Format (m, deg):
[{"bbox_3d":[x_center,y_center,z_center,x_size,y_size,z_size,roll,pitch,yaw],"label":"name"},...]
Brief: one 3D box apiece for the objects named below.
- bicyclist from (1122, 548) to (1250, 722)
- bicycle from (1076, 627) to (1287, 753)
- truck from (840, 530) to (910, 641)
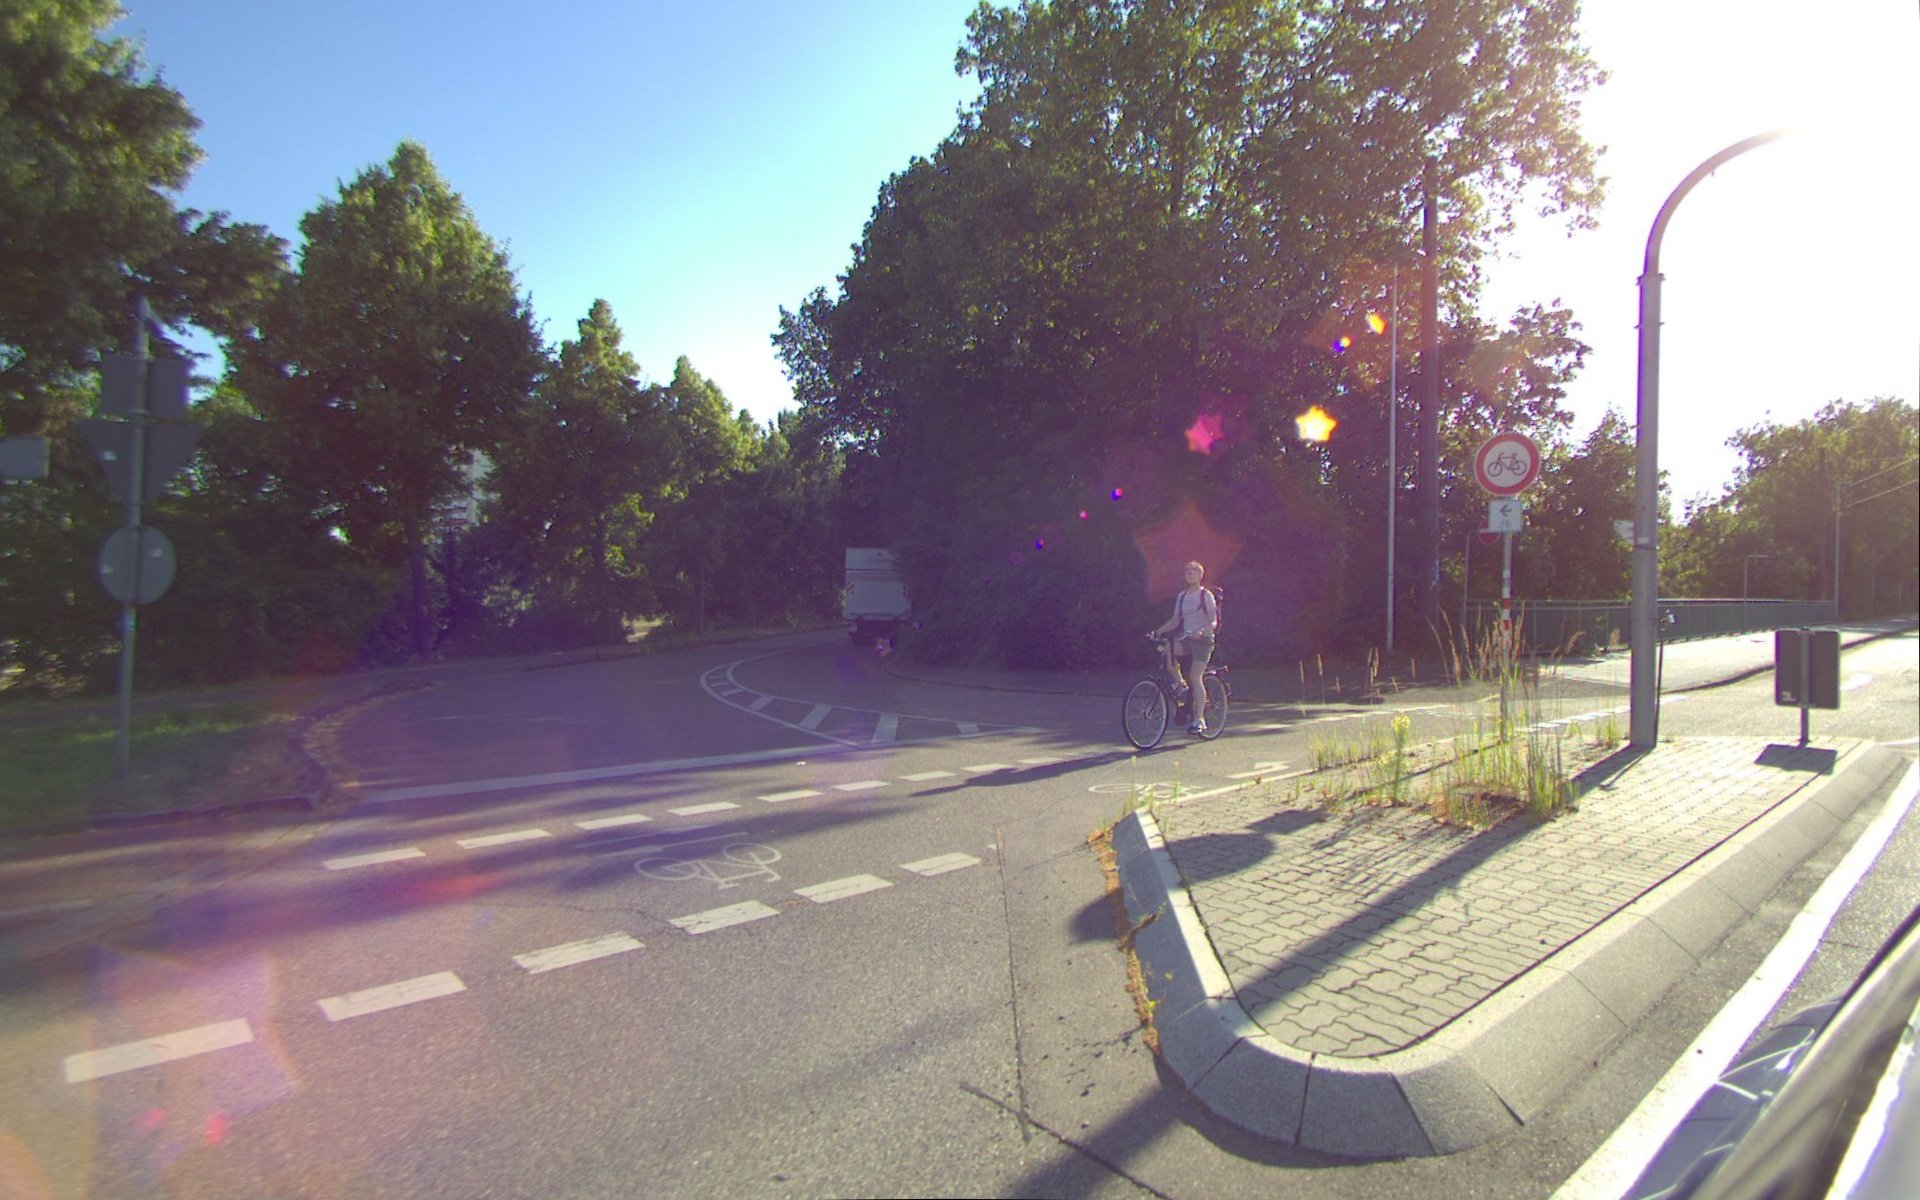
[{"bbox_3d":[2.391,0.359,10.674,1.181,1.711,0.731,1,-3,-42],"label":"bicyclist"},{"bbox_3d":[2.392,0.873,10.628,2.695,1.137,0.731,0,-3,-43],"label":"bicycle"},{"bbox_3d":[-3.338,-0.582,41.848,2.511,4.048,9.891,0,0,-3],"label":"truck"}]
